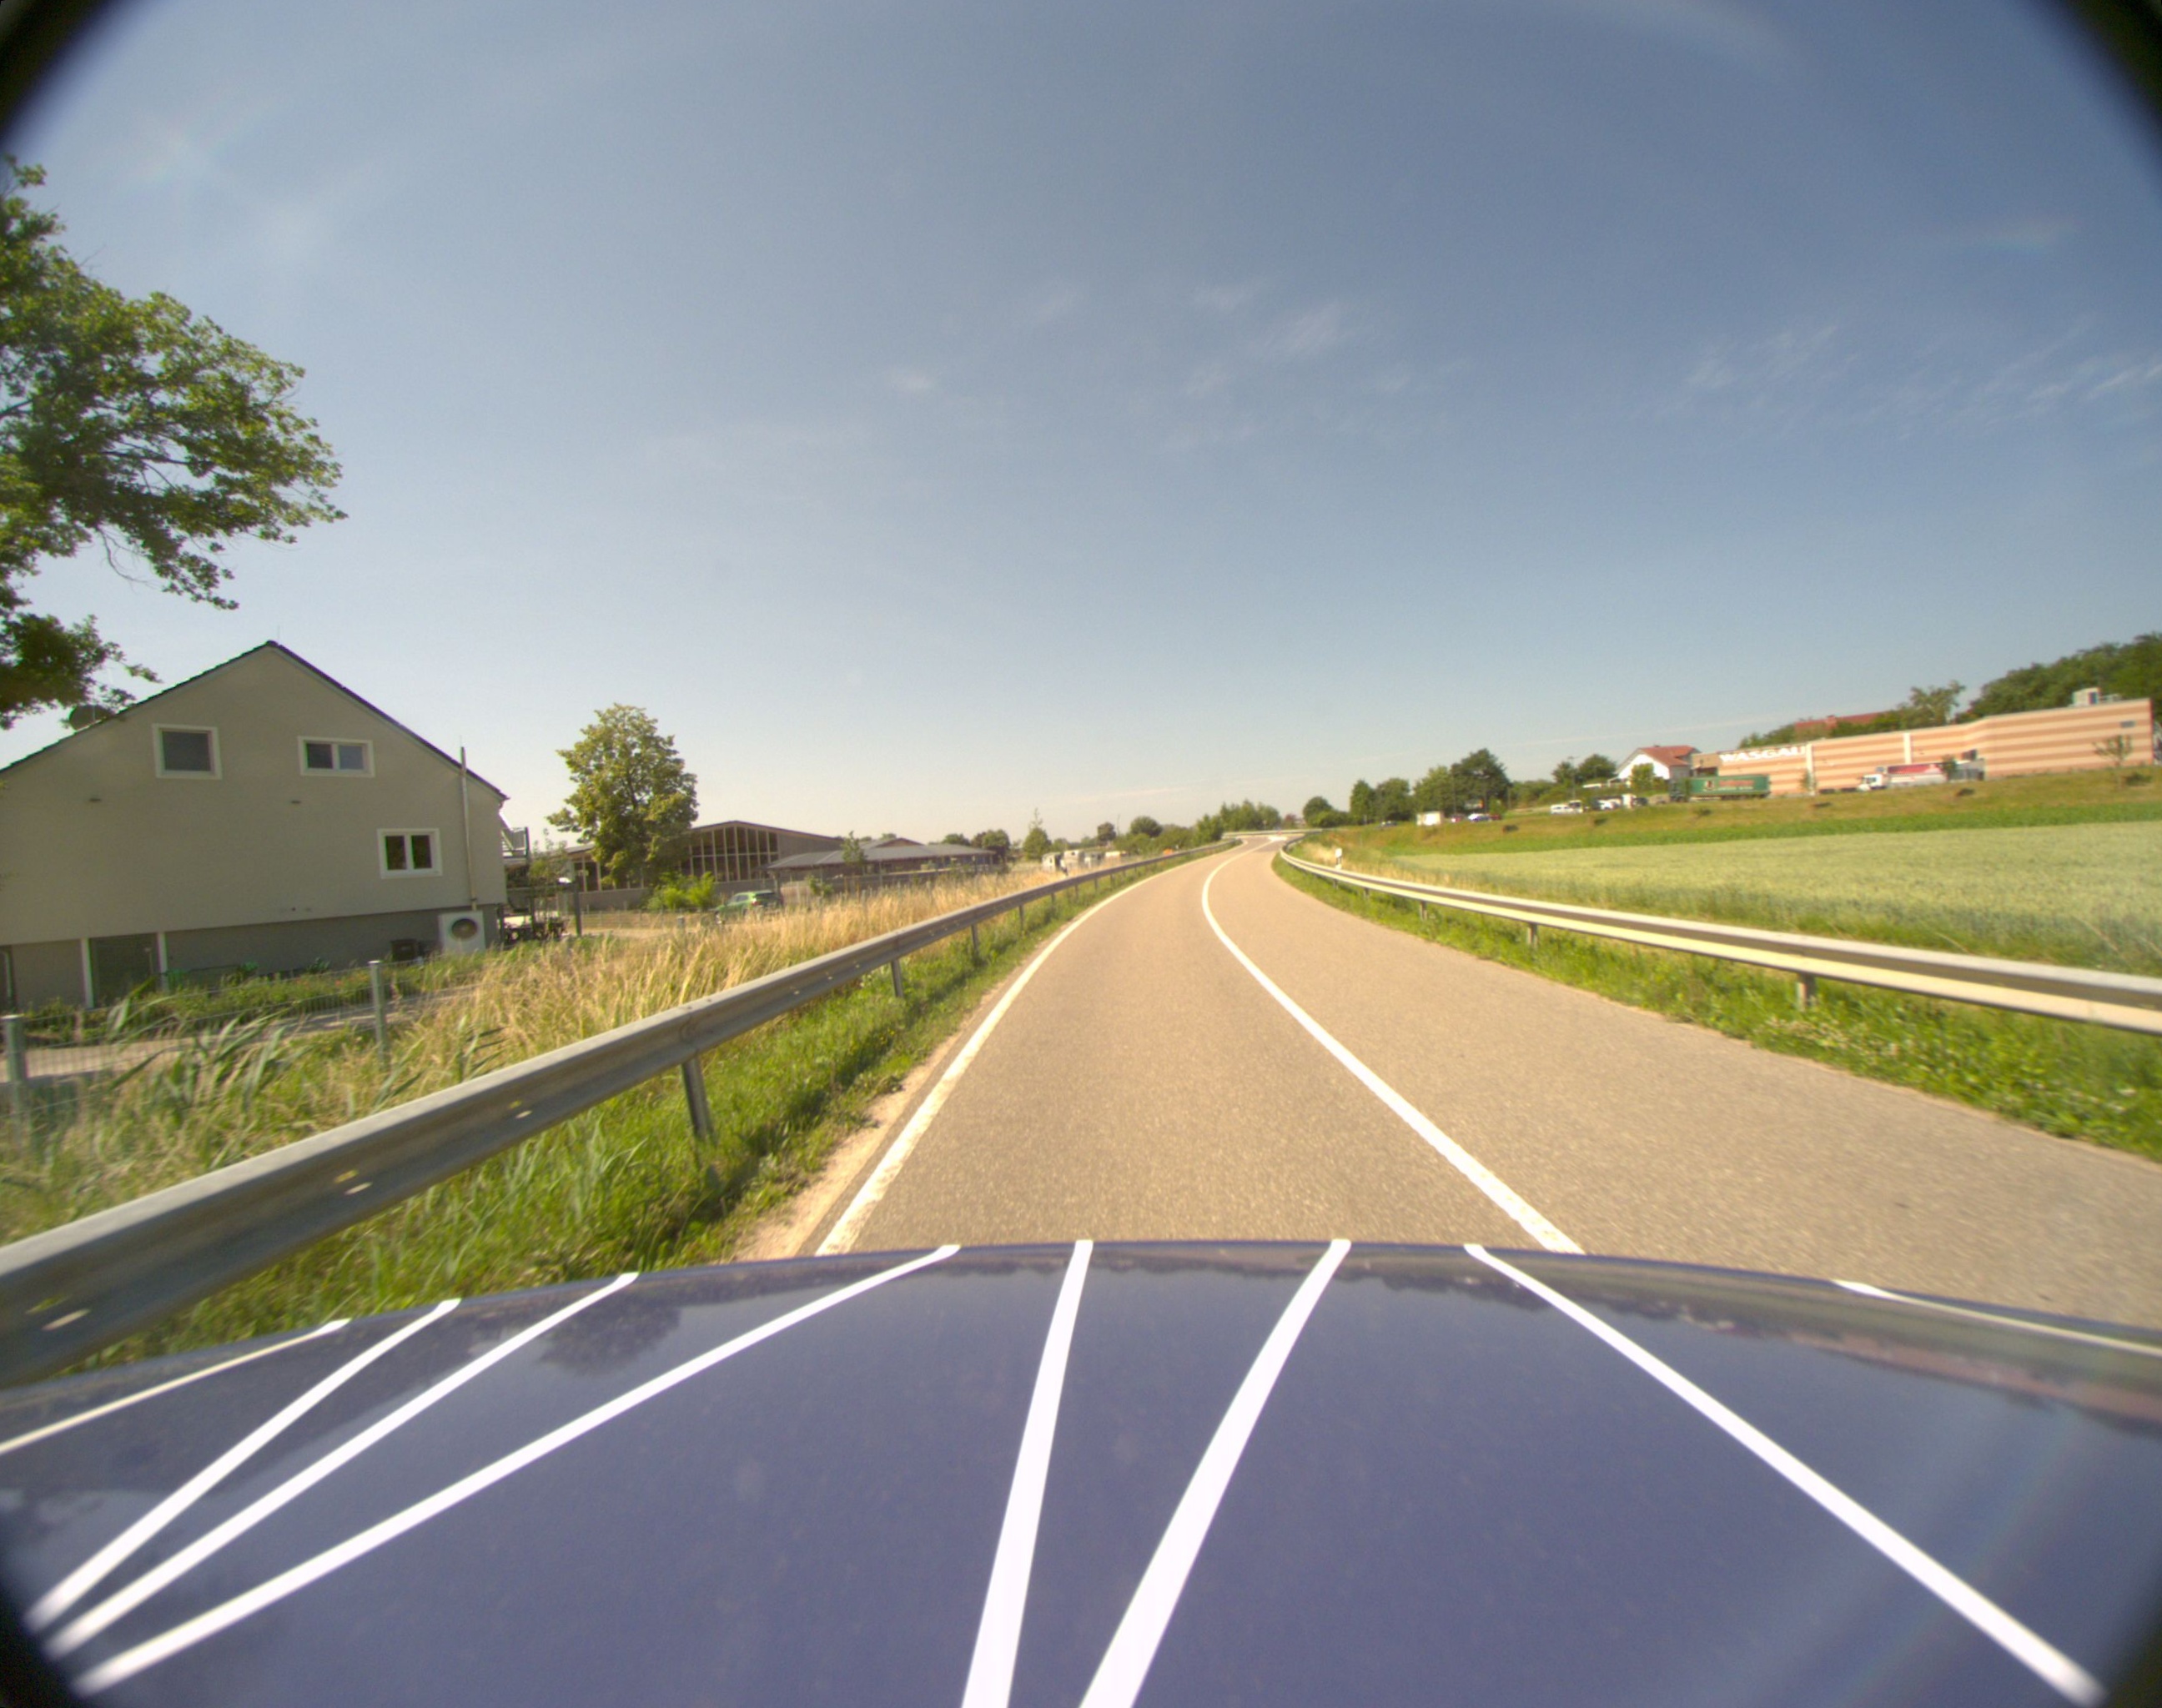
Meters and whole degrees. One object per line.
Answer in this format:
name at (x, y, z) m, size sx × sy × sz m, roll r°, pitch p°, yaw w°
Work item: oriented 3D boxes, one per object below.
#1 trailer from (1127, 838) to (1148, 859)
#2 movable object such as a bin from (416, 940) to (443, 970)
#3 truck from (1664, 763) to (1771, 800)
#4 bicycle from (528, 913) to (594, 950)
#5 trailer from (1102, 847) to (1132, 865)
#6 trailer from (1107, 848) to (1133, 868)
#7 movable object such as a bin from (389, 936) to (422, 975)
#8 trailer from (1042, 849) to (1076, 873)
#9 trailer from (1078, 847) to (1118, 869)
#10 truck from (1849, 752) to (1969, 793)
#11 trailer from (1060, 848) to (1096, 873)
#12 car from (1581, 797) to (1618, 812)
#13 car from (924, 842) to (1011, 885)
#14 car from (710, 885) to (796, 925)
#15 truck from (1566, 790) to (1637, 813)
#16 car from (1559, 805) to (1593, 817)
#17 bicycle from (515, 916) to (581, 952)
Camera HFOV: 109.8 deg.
trailer at (9.287, -0.902, 125.416) m, size 1.999 × 2.788 × 3.376 m, roll -16°, pitch 0°, yaw -8°
movable object such as a bin at (-21.925, 3.393, 25.560) m, size 0.502 × 0.905 × 0.561 m, roll -4°, pitch 1°, yaw 40°
truck at (79.759, -9.019, 95.387) m, size 9.917 × 3.458 × 2.882 m, roll -4°, pitch 3°, yaw 45°
bicycle at (-20.835, 3.084, 30.464) m, size 0.713 × 1.185 × 1.973 m, roll -5°, pitch 0°, yaw 40°
trailer at (5.605, 0.326, 118.403) m, size 2.010 × 2.376 × 4.084 m, roll -6°, pitch 0°, yaw -44°
trailer at (6.270, 0.637, 122.216) m, size 3.412 × 2.789 × 2.168 m, roll -4°, pitch 2°, yaw 37°
movable object such as a bin at (-22.220, 3.328, 24.992) m, size 0.577 × 1.143 × 0.662 m, roll -4°, pitch 1°, yaw 40°
trailer at (-2.660, 0.796, 90.195) m, size 2.177 × 2.656 × 4.471 m, roll -4°, pitch 2°, yaw -26°
trailer at (2.349, 0.568, 107.287) m, size 5.175 × 2.672 × 2.212 m, roll -4°, pitch 0°, yaw 39°
truck at (94.562, -9.251, 87.055) m, size 8.860 × 3.544 × 2.882 m, roll -4°, pitch 3°, yaw 41°
trailer at (-0.422, 0.844, 94.084) m, size 2.237 × 2.848 × 5.035 m, roll -4°, pitch 0°, yaw -26°
car at (78.662, -7.506, 115.309) m, size 4.322 × 1.694 × 2.003 m, roll -4°, pitch 3°, yaw 40°
car at (-11.475, 1.029, 76.178) m, size 8.974 × 3.631 × 2.784 m, roll -5°, pitch 1°, yaw 36°
car at (-16.348, 2.550, 37.791) m, size 4.363 × 1.571 × 1.936 m, roll -6°, pitch 2°, yaw 38°
truck at (98.410, -9.985, 143.963) m, size 10.697 × 3.174 × 2.450 m, roll -5°, pitch 2°, yaw 26°
car at (80.827, -7.015, 124.022) m, size 4.322 × 1.589 × 2.003 m, roll -4°, pitch 3°, yaw 39°
bicycle at (-21.682, 3.237, 30.934) m, size 0.713 × 1.185 × 1.973 m, roll -5°, pitch 0°, yaw 39°
